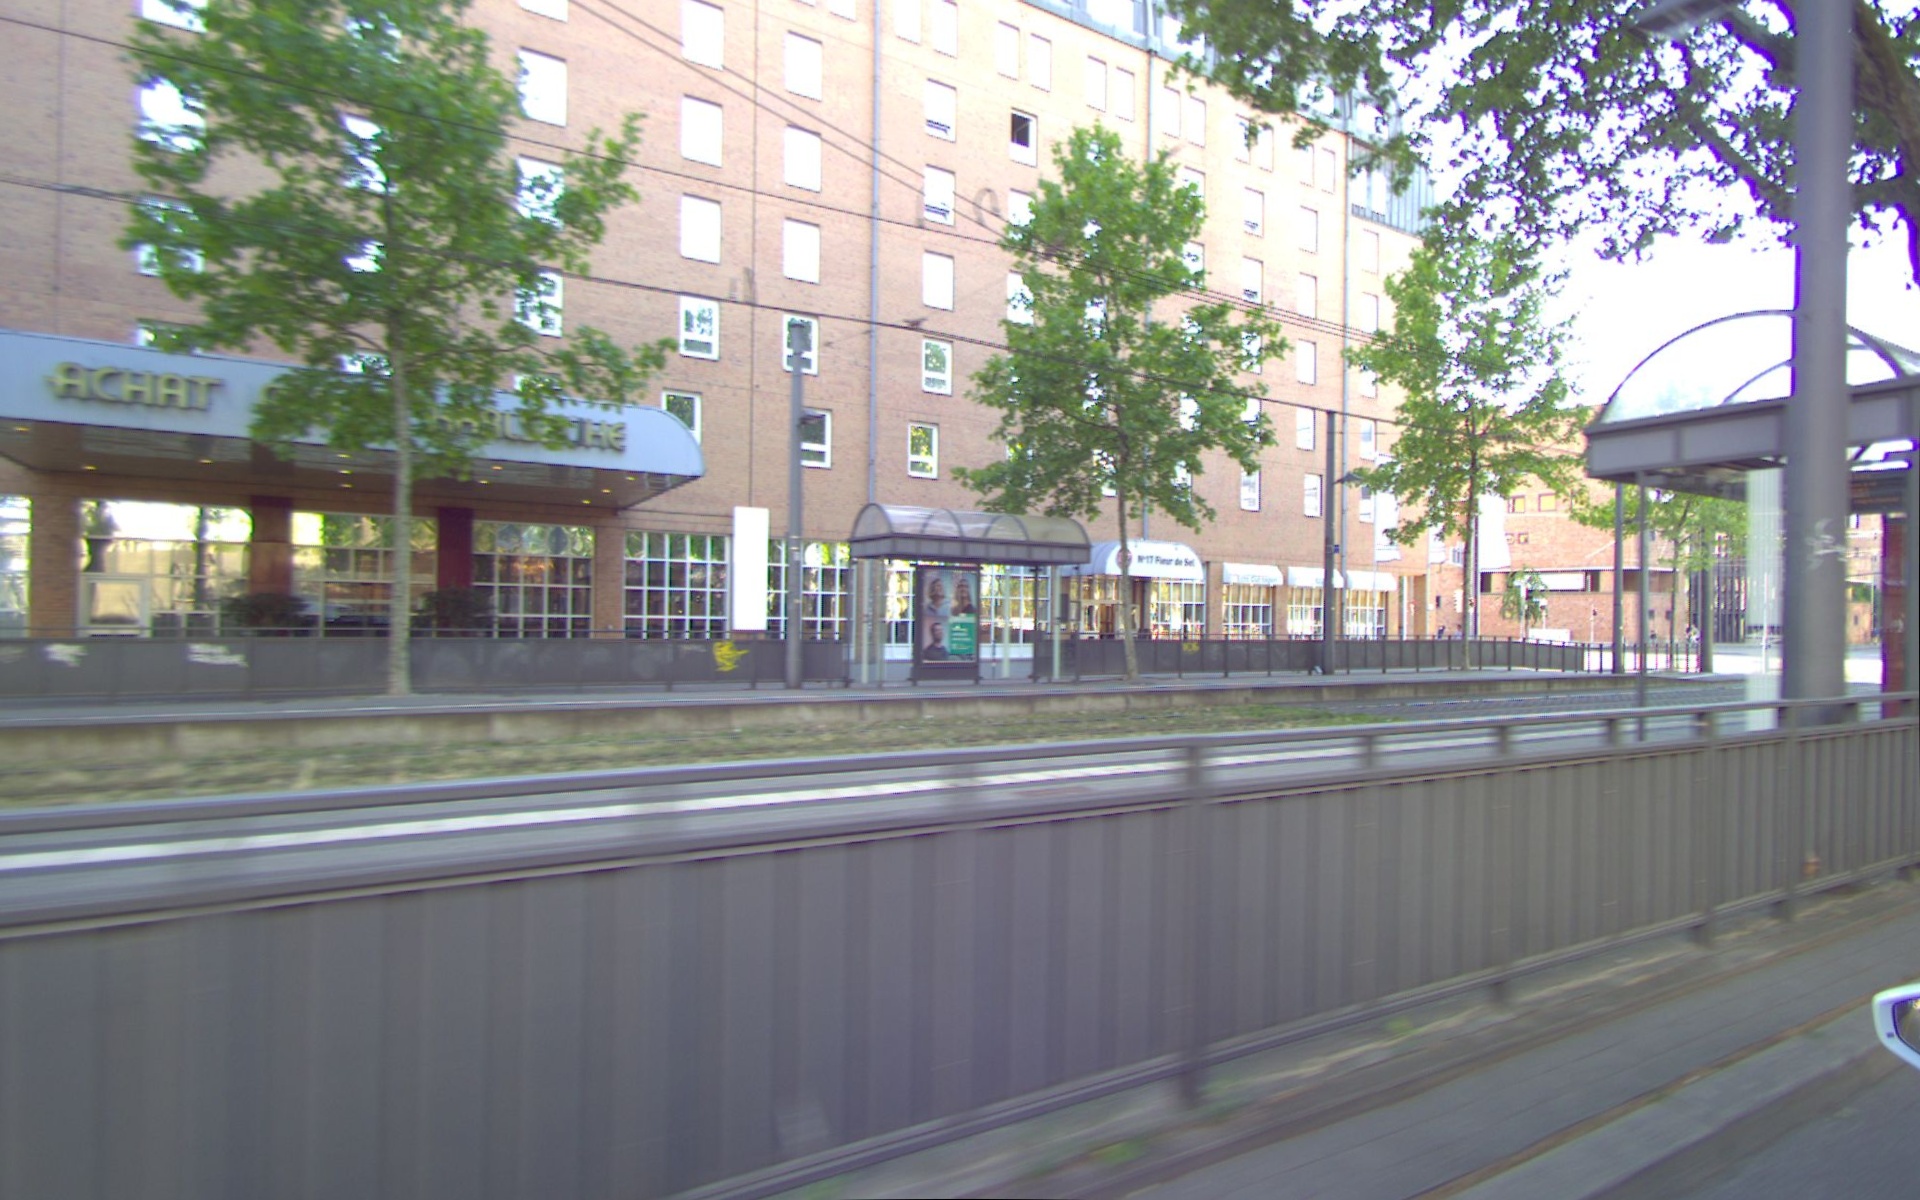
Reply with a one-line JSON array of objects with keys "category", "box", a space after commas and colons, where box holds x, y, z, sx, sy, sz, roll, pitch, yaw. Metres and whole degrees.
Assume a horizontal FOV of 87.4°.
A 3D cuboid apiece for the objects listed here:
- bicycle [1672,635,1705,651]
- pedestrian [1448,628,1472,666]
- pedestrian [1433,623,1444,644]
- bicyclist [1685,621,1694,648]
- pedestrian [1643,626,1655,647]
[{"category": "bicycle", "box": [57.688, 3.378, 79.595, 2.059, 1.255, 0.452, 0, -1, 30]}, {"category": "pedestrian", "box": [21.444, 2.015, 43.084, 0.718, 1.606, 0.585, 1, 1, -34]}, {"category": "pedestrian", "box": [37.951, 2.622, 79.671, 0.608, 1.635, 0.539, -1, 2, -38]}, {"category": "bicyclist", "box": [57.778, 2.721, 79.554, 0.552, 2.087, 0.450, 0, -1, 30]}, {"category": "pedestrian", "box": [53.932, 2.857, 78.624, 0.560, 1.635, 0.545, 1, -1, -2]}]
